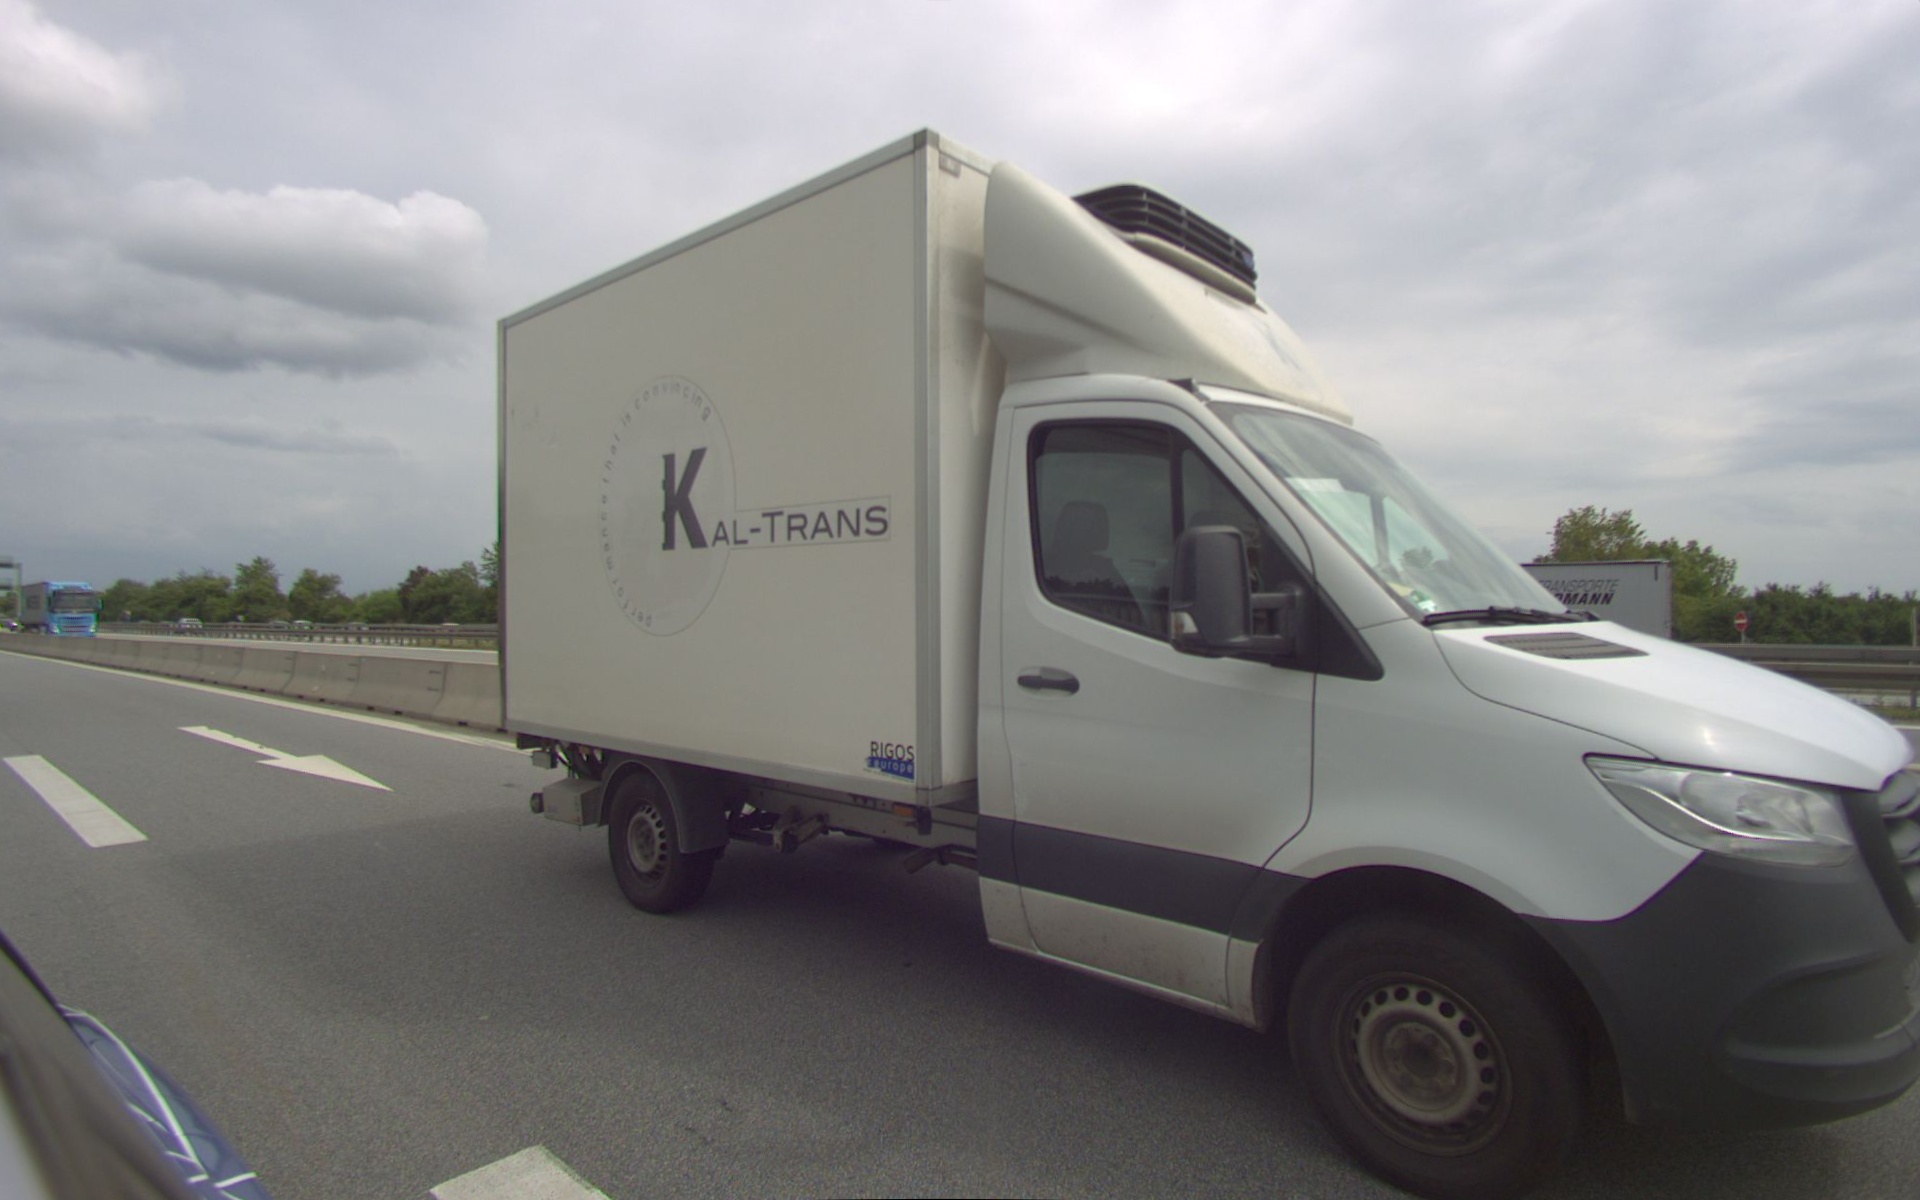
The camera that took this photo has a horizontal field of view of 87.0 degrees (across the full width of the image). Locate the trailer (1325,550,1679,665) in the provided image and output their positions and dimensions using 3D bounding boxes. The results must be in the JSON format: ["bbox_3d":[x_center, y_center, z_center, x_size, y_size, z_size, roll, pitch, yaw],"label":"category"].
[{"bbox_3d":[17.474,0.295,33.256,9.814,3.294,3.166,-1,-1,40],"label":"trailer"}]

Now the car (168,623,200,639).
[{"bbox_3d":[-75.397,3.013,98.370,4.001,1.480,1.670,-1,-1,40],"label":"car"}]

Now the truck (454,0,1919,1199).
[{"bbox_3d":[0.298,-0.089,4.539,6.367,3.113,2.379,-1,-1,41],"label":"truck"}]

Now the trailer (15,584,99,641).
[{"bbox_3d":[-66.889,0.920,74.865,12.375,3.954,3.202,-1,0,42],"label":"trailer"}]

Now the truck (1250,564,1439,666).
[{"bbox_3d":[13.734,0.535,36.279,5.618,3.355,3.118,-1,-1,40],"label":"truck"}]

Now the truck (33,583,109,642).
[{"bbox_3d":[-62.041,0.873,70.593,6.607,3.941,3.212,-1,-1,42],"label":"truck"}]

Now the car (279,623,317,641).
[{"bbox_3d":[-57.218,2.753,87.460,4.001,1.480,1.670,-1,-1,40],"label":"car"}]

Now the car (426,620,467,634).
[{"bbox_3d":[-43.397,2.274,85.519,4.001,1.201,1.670,-1,-1,40],"label":"car"}]
